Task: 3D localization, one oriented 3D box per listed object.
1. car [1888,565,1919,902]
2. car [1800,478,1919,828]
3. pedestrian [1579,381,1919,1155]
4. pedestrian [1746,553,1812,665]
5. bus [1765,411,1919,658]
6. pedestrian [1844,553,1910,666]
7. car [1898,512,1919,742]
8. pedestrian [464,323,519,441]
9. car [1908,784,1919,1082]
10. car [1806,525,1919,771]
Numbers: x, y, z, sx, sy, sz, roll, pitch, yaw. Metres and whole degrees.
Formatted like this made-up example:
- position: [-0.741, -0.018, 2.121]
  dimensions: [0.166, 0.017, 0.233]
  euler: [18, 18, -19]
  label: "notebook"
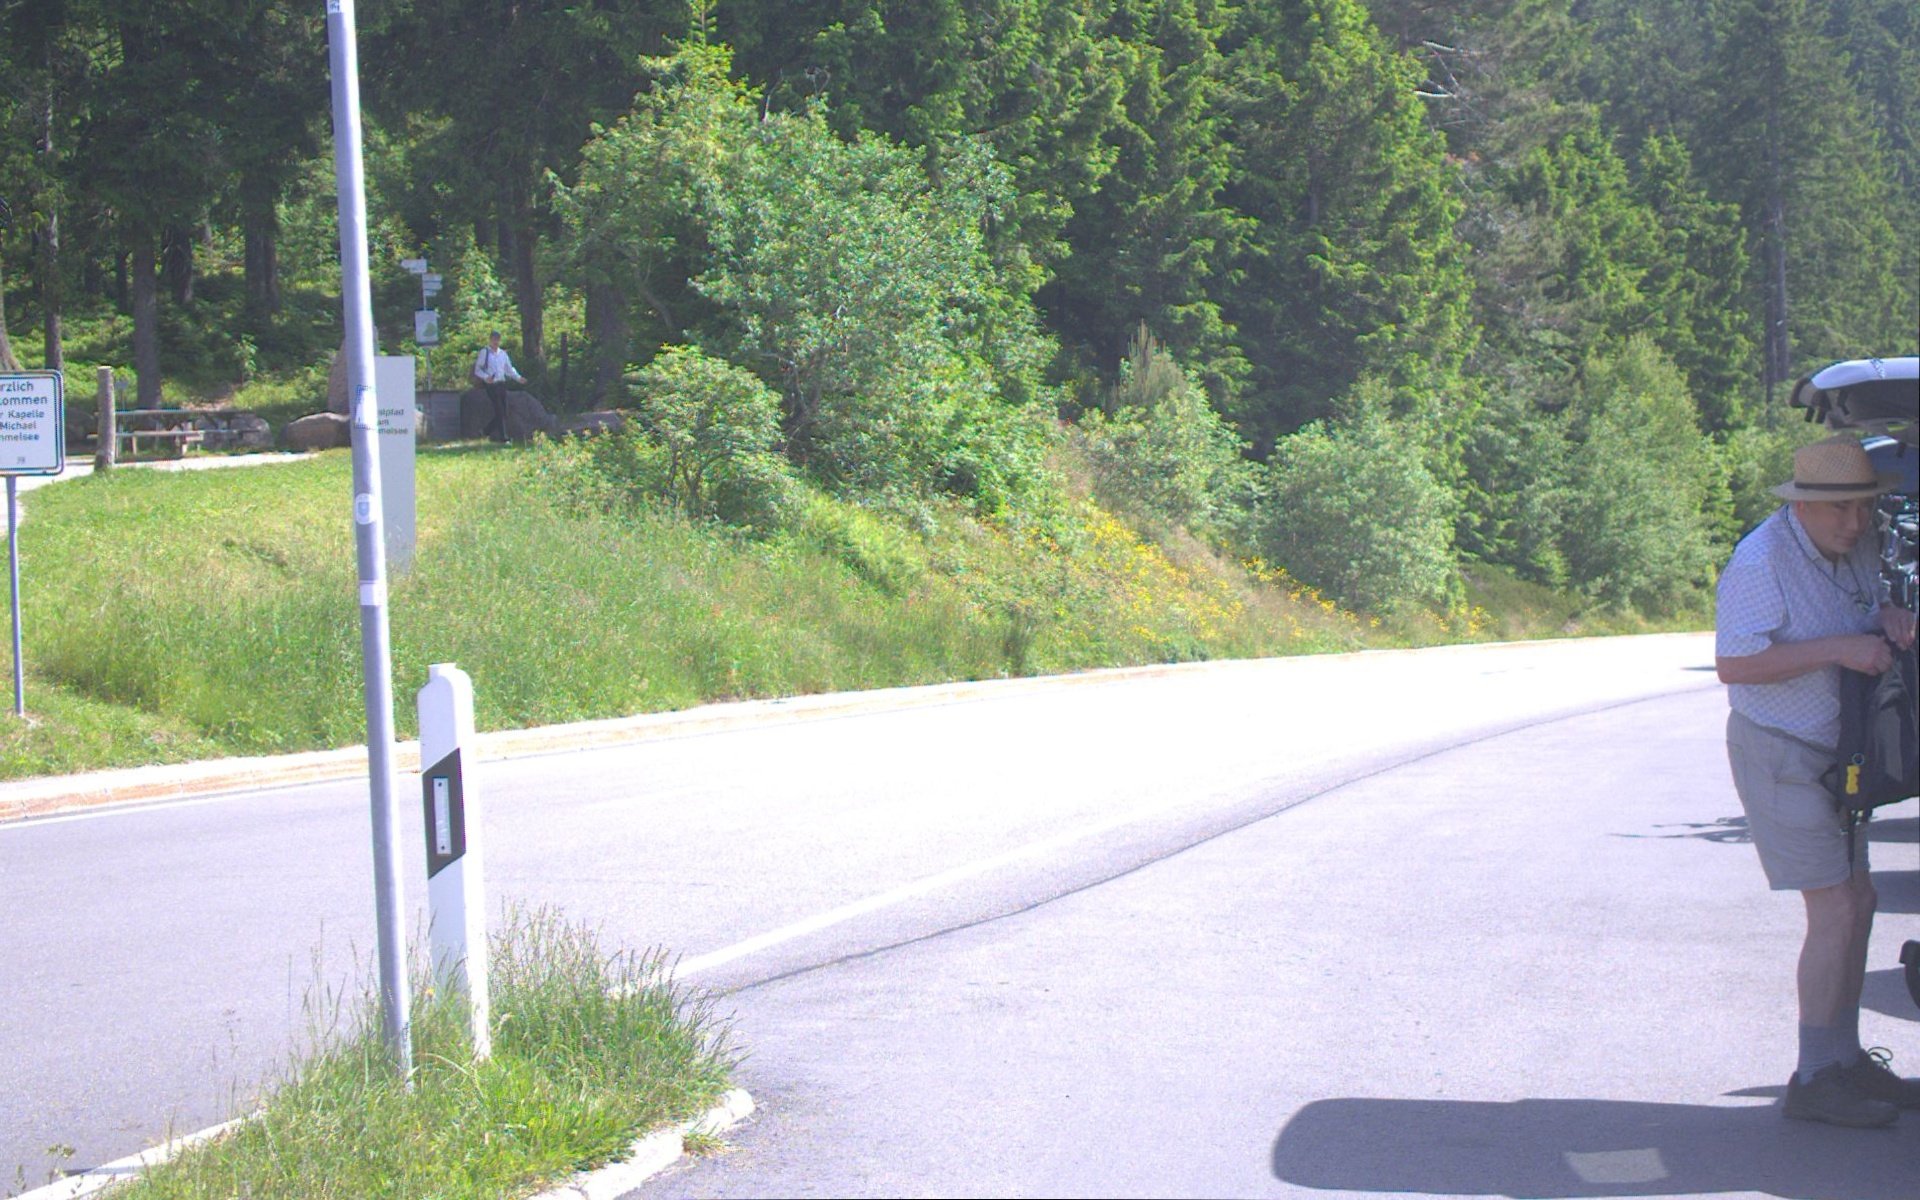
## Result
- position: [6.040, 0.588, 14.223]
  dimensions: [4.083, 1.372, 1.702]
  euler: [1, 1, 10]
  label: "car"
- position: [6.762, 0.217, 16.900]
  dimensions: [4.953, 1.690, 1.943]
  euler: [-1, 1, 19]
  label: "car"
- position: [2.120, 0.377, 8.774]
  dimensions: [0.756, 1.864, 0.737]
  euler: [-3, 4, -43]
  label: "pedestrian"
- position: [11.823, 0.128, 49.607]
  dimensions: [0.771, 1.580, 0.771]
  euler: [-1, 0, 23]
  label: "pedestrian"
- position: [18.380, -1.057, 48.832]
  dimensions: [13.112, 3.520, 3.039]
  euler: [-1, 0, 27]
  label: "bus"
- position: [13.075, 0.131, 48.991]
  dimensions: [0.771, 1.580, 0.771]
  euler: [-1, 0, 23]
  label: "pedestrian"
- position: [9.442, 0.126, 24.907]
  dimensions: [5.038, 1.645, 2.046]
  euler: [-1, 0, 17]
  label: "car"
- position: [-7.644, -3.551, 56.114]
  dimensions: [0.540, 1.871, 0.682]
  euler: [-2, 0, -41]
  label: "pedestrian"
- position: [4.657, 0.588, 8.344]
  dimensions: [4.346, 1.620, 1.869]
  euler: [3, 1, 11]
  label: "car"
- position: [7.706, 0.259, 22.200]
  dimensions: [4.247, 1.548, 1.837]
  euler: [-1, 0, 17]
  label: "car"
